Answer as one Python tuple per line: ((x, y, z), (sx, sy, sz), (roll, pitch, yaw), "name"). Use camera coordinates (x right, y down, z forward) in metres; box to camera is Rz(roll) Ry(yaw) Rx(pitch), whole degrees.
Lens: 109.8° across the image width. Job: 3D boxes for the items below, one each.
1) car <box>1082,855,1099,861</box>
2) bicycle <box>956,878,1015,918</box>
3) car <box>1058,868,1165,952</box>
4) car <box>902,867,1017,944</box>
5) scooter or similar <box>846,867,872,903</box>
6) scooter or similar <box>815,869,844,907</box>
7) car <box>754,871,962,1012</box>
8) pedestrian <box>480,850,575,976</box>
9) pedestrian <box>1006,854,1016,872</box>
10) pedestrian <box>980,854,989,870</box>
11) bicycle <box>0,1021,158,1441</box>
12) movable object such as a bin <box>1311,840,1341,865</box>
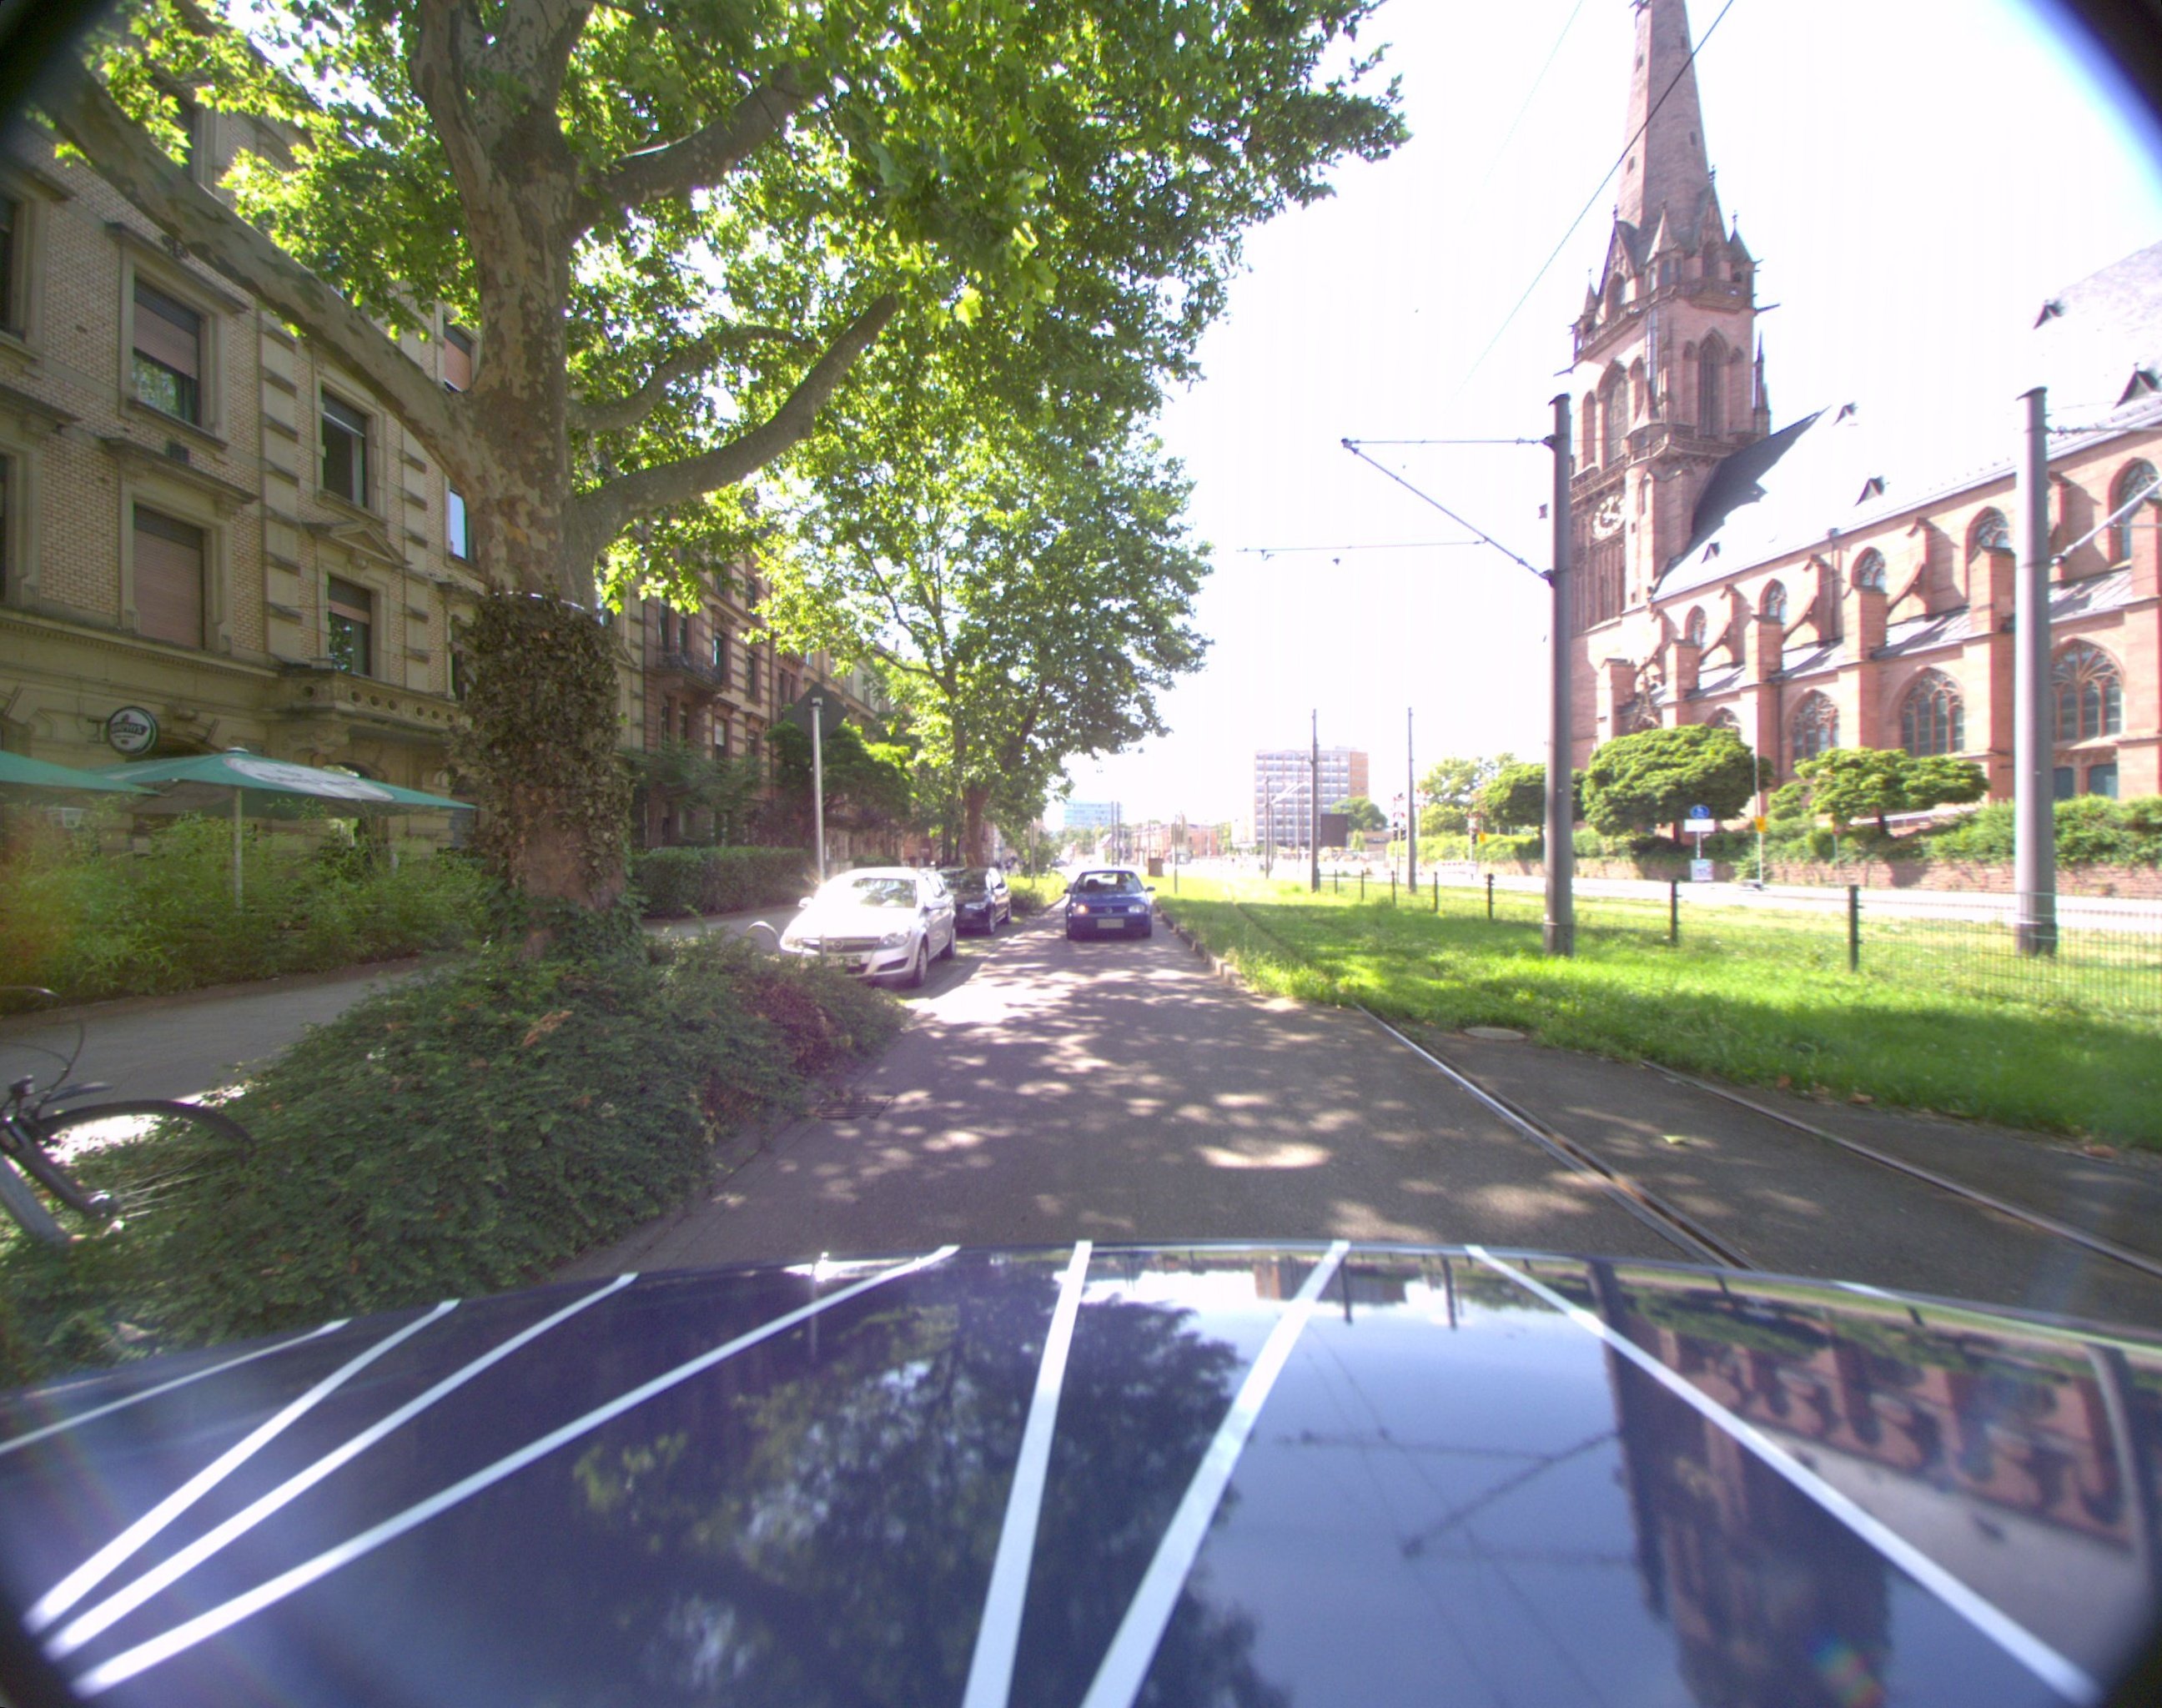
((2.343, 0.986, 194.273), (3.959, 1.662, 1.827), (-1, 0, -22), "car")
((-2.748, 1.261, 22.002), (1.641, 1.082, 0.470), (0, 0, -33), "bicycle")
((0.581, 1.048, 15.726), (1.886, 1.401, 4.093), (-2, 0, 1), "car")
((-2.679, 1.095, 17.807), (1.838, 1.499, 4.643), (0, 0, 1), "car")
((-8.303, 1.150, 28.405), (0.583, 1.275, 1.145), (0, 0, 3), "scooter or similar")
((-8.500, 1.132, 25.683), (0.583, 1.240, 1.145), (0, 0, 1), "scooter or similar")
((-2.881, 1.038, 10.878), (1.838, 1.499, 4.491), (0, 0, -3), "car")
((-8.099, 0.833, 11.152), (0.738, 1.775, 0.852), (1, 0, 0), "pedestrian")
((-6.988, 0.900, 75.832), (0.797, 1.708, 0.968), (-1, 0, 0), "pedestrian")
((-10.230, 0.872, 80.292), (0.797, 1.708, 0.968), (-1, 0, 0), "pedestrian")
((-3.537, 1.128, 1.825), (0.421, 1.099, 1.620), (0, 0, 31), "bicycle")
((37.590, -0.220, 116.704), (3.341, 3.859, 2.932), (0, 0, -33), "movable object such as a bin")
